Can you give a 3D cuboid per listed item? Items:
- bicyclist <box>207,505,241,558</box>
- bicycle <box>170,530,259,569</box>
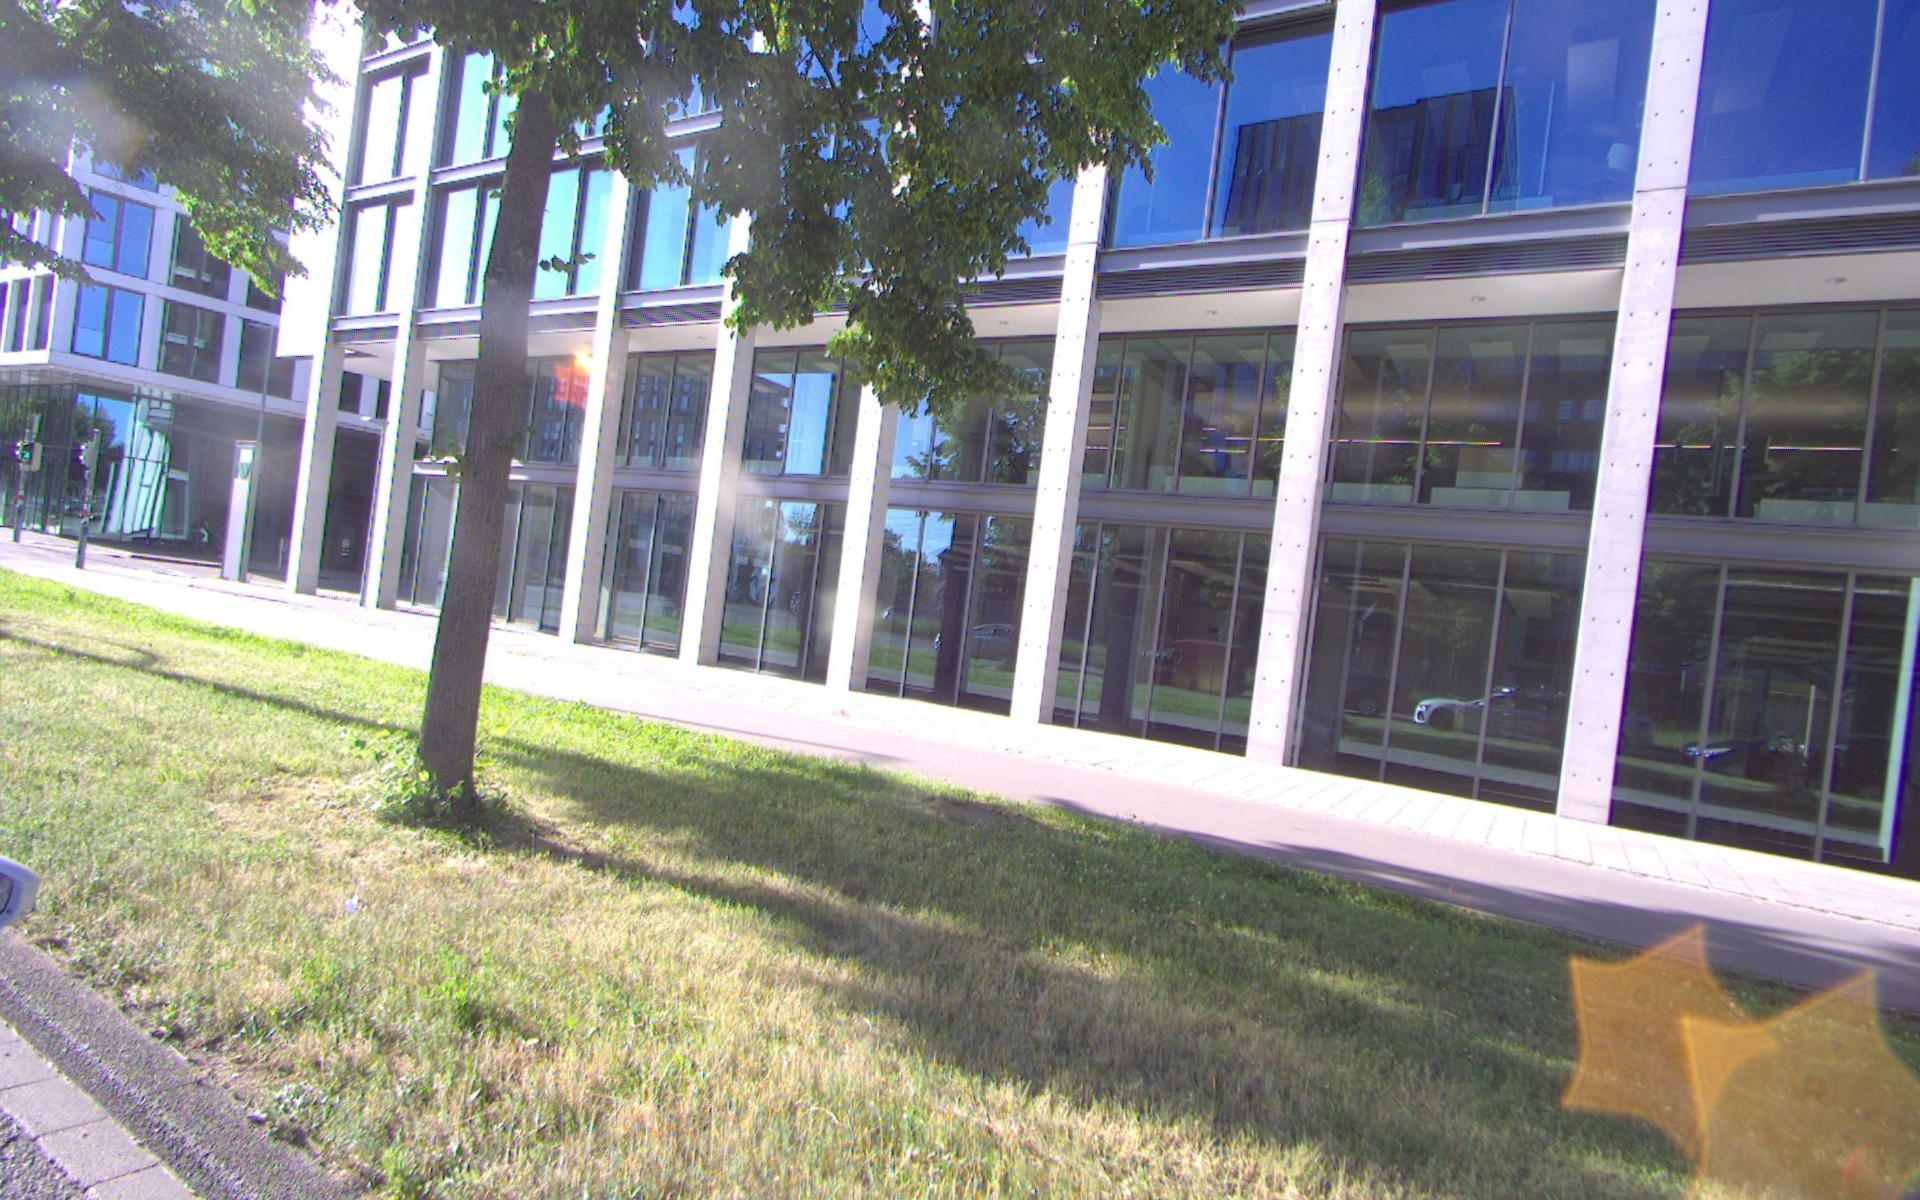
[{"bbox_3d":[-31.691,-2.951,43.315,0.936,2.118,0.808,7,0,-41],"label":"bicyclist"},{"bbox_3d":[-31.964,-2.154,43.154,2.931,1.204,0.808,8,-1,-41],"label":"bicycle"}]
